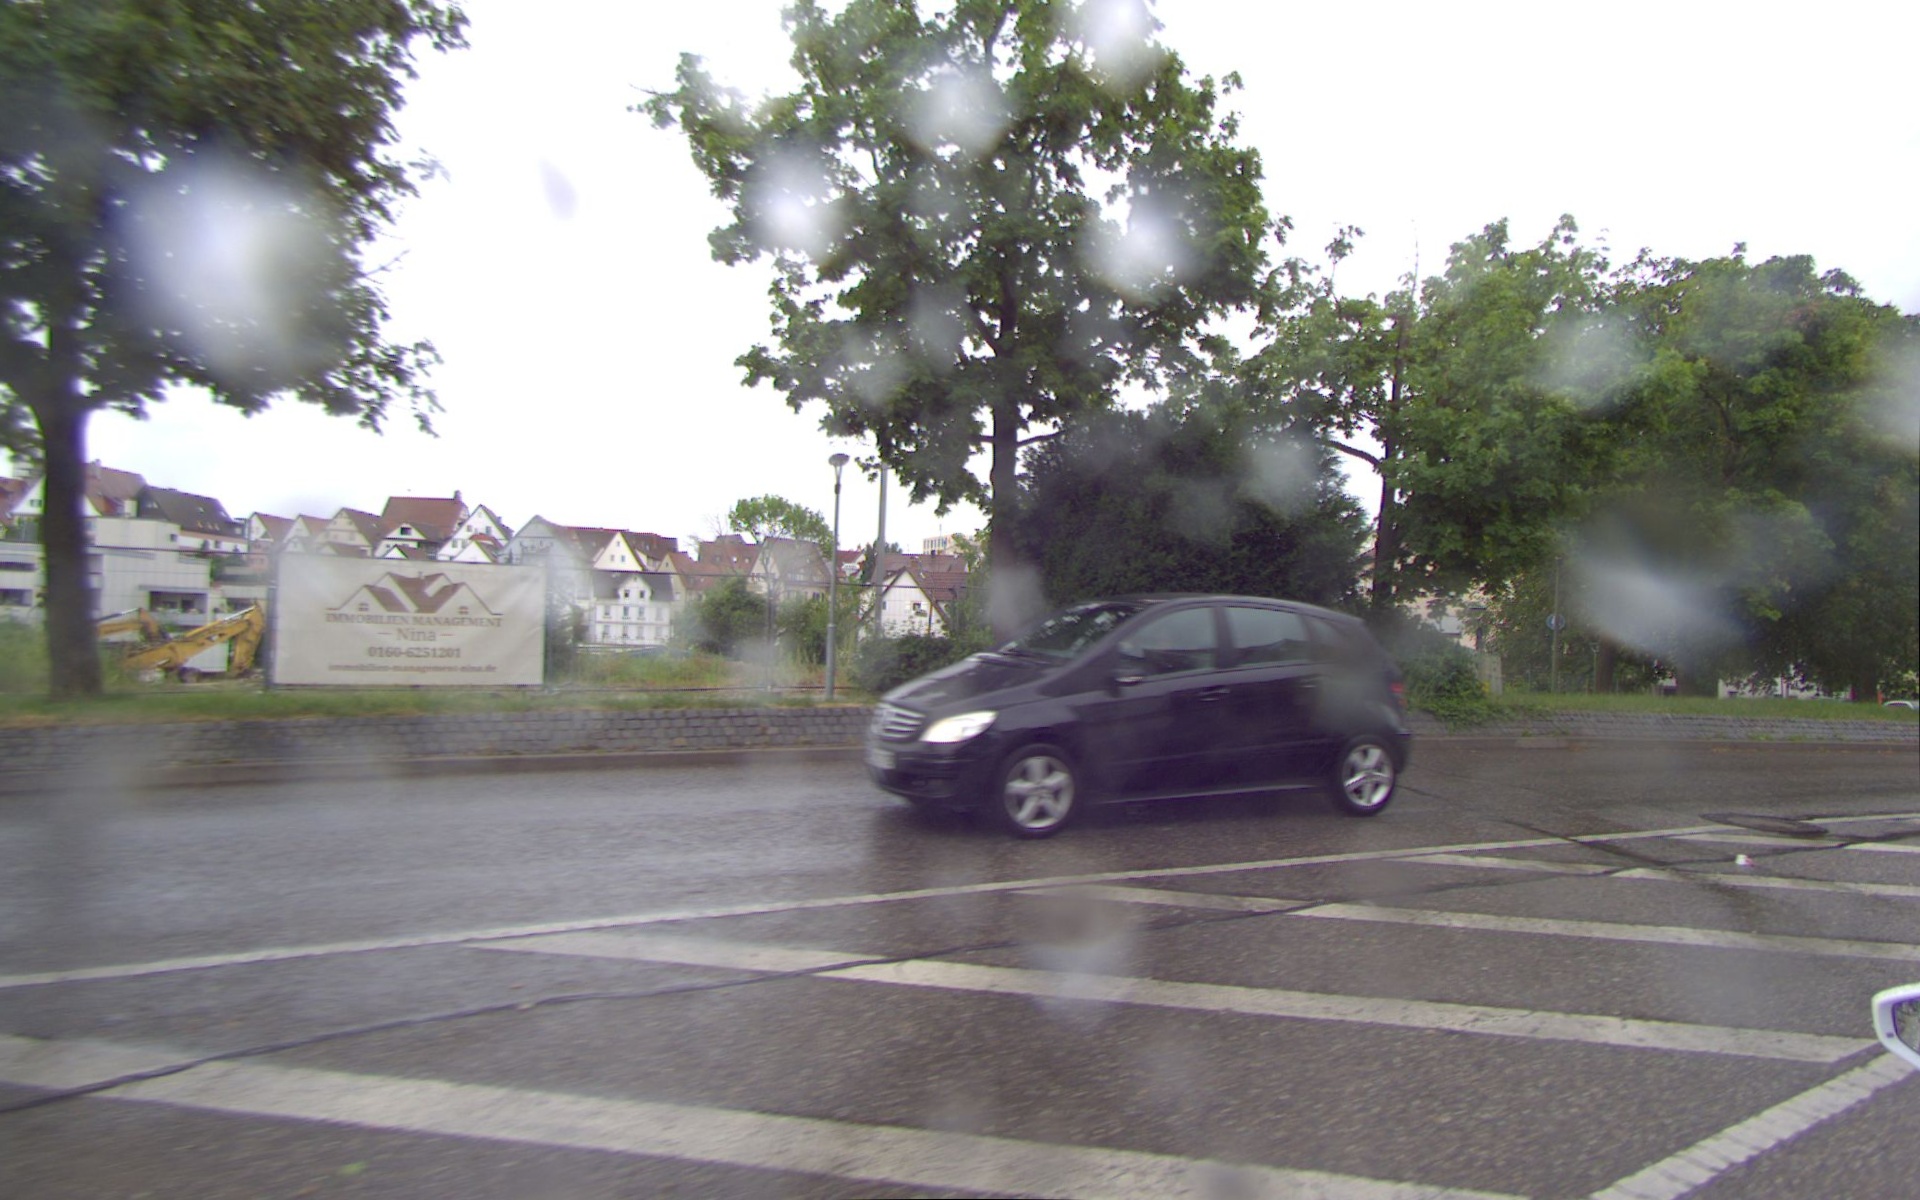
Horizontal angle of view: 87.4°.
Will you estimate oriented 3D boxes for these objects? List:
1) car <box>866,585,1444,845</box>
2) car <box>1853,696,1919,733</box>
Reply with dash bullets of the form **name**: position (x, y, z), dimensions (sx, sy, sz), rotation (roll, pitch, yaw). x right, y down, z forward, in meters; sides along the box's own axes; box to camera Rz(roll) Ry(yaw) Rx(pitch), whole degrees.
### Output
- **car**: position (1.470, 0.741, 7.519), dimensions (4.013, 1.541, 1.637), rotation (2, -1, -23)
- **car**: position (41.945, 5.082, 44.721), dimensions (1.695, 1.524, 4.261), rotation (1, -5, 18)
